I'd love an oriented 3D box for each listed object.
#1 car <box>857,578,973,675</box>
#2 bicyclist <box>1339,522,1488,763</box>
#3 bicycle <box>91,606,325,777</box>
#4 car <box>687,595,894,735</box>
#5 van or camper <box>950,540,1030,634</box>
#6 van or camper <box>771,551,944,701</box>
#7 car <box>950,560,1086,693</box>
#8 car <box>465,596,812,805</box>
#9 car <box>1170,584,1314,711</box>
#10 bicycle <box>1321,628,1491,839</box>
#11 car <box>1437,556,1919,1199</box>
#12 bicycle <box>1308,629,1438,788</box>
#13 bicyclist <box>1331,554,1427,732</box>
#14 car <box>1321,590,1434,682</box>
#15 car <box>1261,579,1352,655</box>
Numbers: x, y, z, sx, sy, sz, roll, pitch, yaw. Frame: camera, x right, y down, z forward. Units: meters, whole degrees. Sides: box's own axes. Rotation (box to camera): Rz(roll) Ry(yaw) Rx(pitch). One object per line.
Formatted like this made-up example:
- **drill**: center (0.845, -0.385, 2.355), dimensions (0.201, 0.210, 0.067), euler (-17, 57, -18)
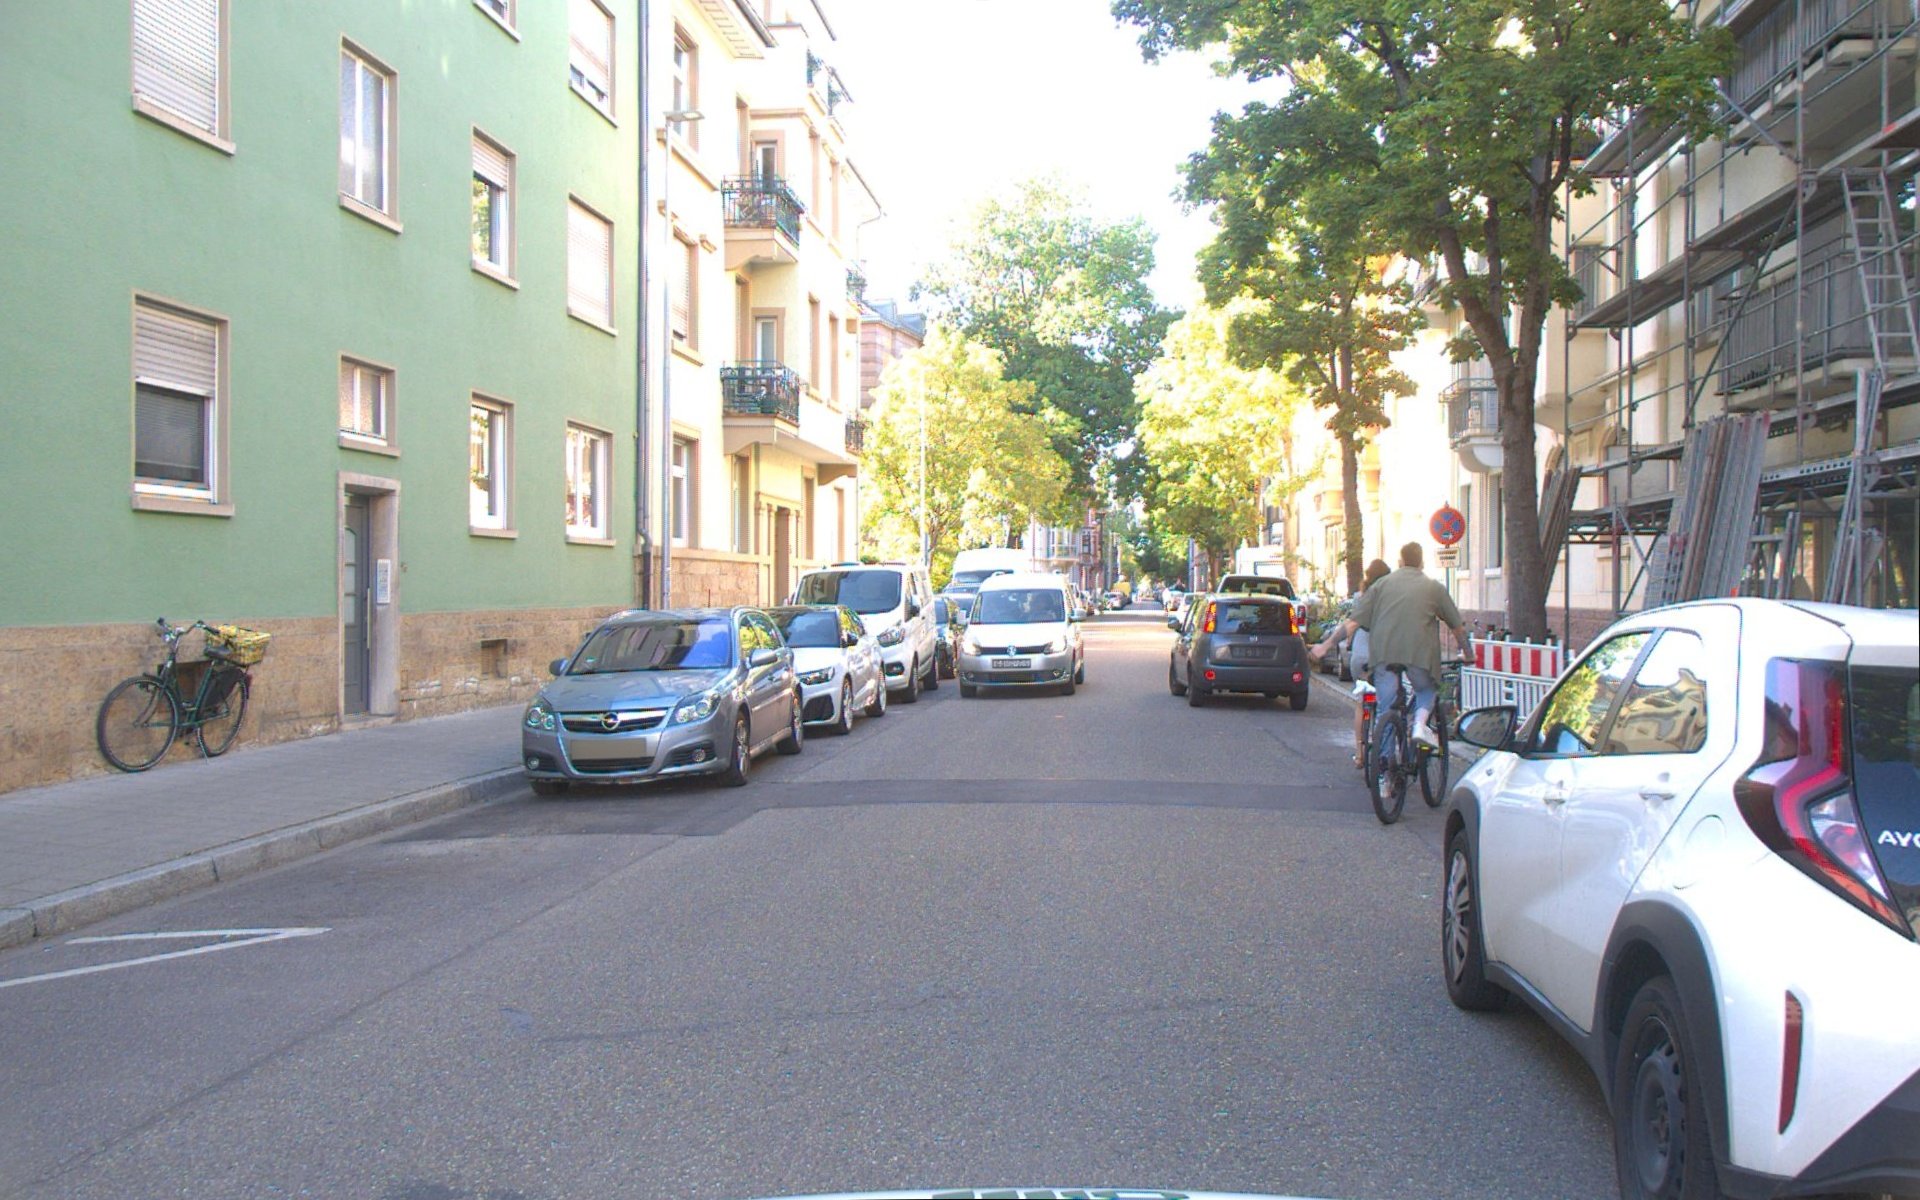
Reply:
- **car**: center (-0.782, 0.453, 31.380), dimensions (1.674, 1.713, 4.003), euler (0, 1, 6)
- **bicyclist**: center (3.161, 0.304, 11.491), dimensions (0.864, 1.589, 0.867), euler (-1, -3, 24)
- **bicycle**: center (-5.960, 0.675, 13.278), dimensions (0.539, 1.198, 2.280), euler (3, 1, 7)
- **car**: center (-1.899, 0.693, 19.565), dimensions (1.651, 1.479, 3.713), euler (-1, 0, 7)
- **van or camper**: center (0.939, -0.397, 48.160), dimensions (1.951, 2.597, 5.026), euler (0, 1, 5)
- **van or camper**: center (-1.440, 0.350, 25.282), dimensions (1.951, 2.049, 4.914), euler (-1, 0, 4)
- **car**: center (0.993, 0.381, 26.106), dimensions (1.744, 1.893, 4.202), euler (-1, 0, 7)
- **car**: center (-2.605, 0.751, 14.466), dimensions (1.937, 1.481, 4.116), euler (-2, 0, 4)
- **car**: center (3.899, 0.600, 23.319), dimensions (1.524, 1.559, 3.488), euler (3, 1, 3)
- **bicycle**: center (3.137, 0.850, 11.471), dimensions (0.822, 1.169, 2.233), euler (5, 3, 21)
- **car**: center (2.549, 0.727, 4.786), dimensions (1.639, 1.572, 3.406), euler (2, 0, 6)
- **bicycle**: center (3.418, 0.859, 13.530), dimensions (0.821, 1.169, 2.233), euler (0, -2, 19)
- **bicyclist**: center (3.444, 0.373, 13.561), dimensions (0.610, 1.405, 0.867), euler (-2, -5, 23)
- **car**: center (7.344, 0.588, 29.361), dimensions (1.523, 1.434, 3.383), euler (3, 1, 8)
- **car**: center (8.308, 0.374, 39.916), dimensions (1.651, 1.713, 4.003), euler (-1, 0, 5)
